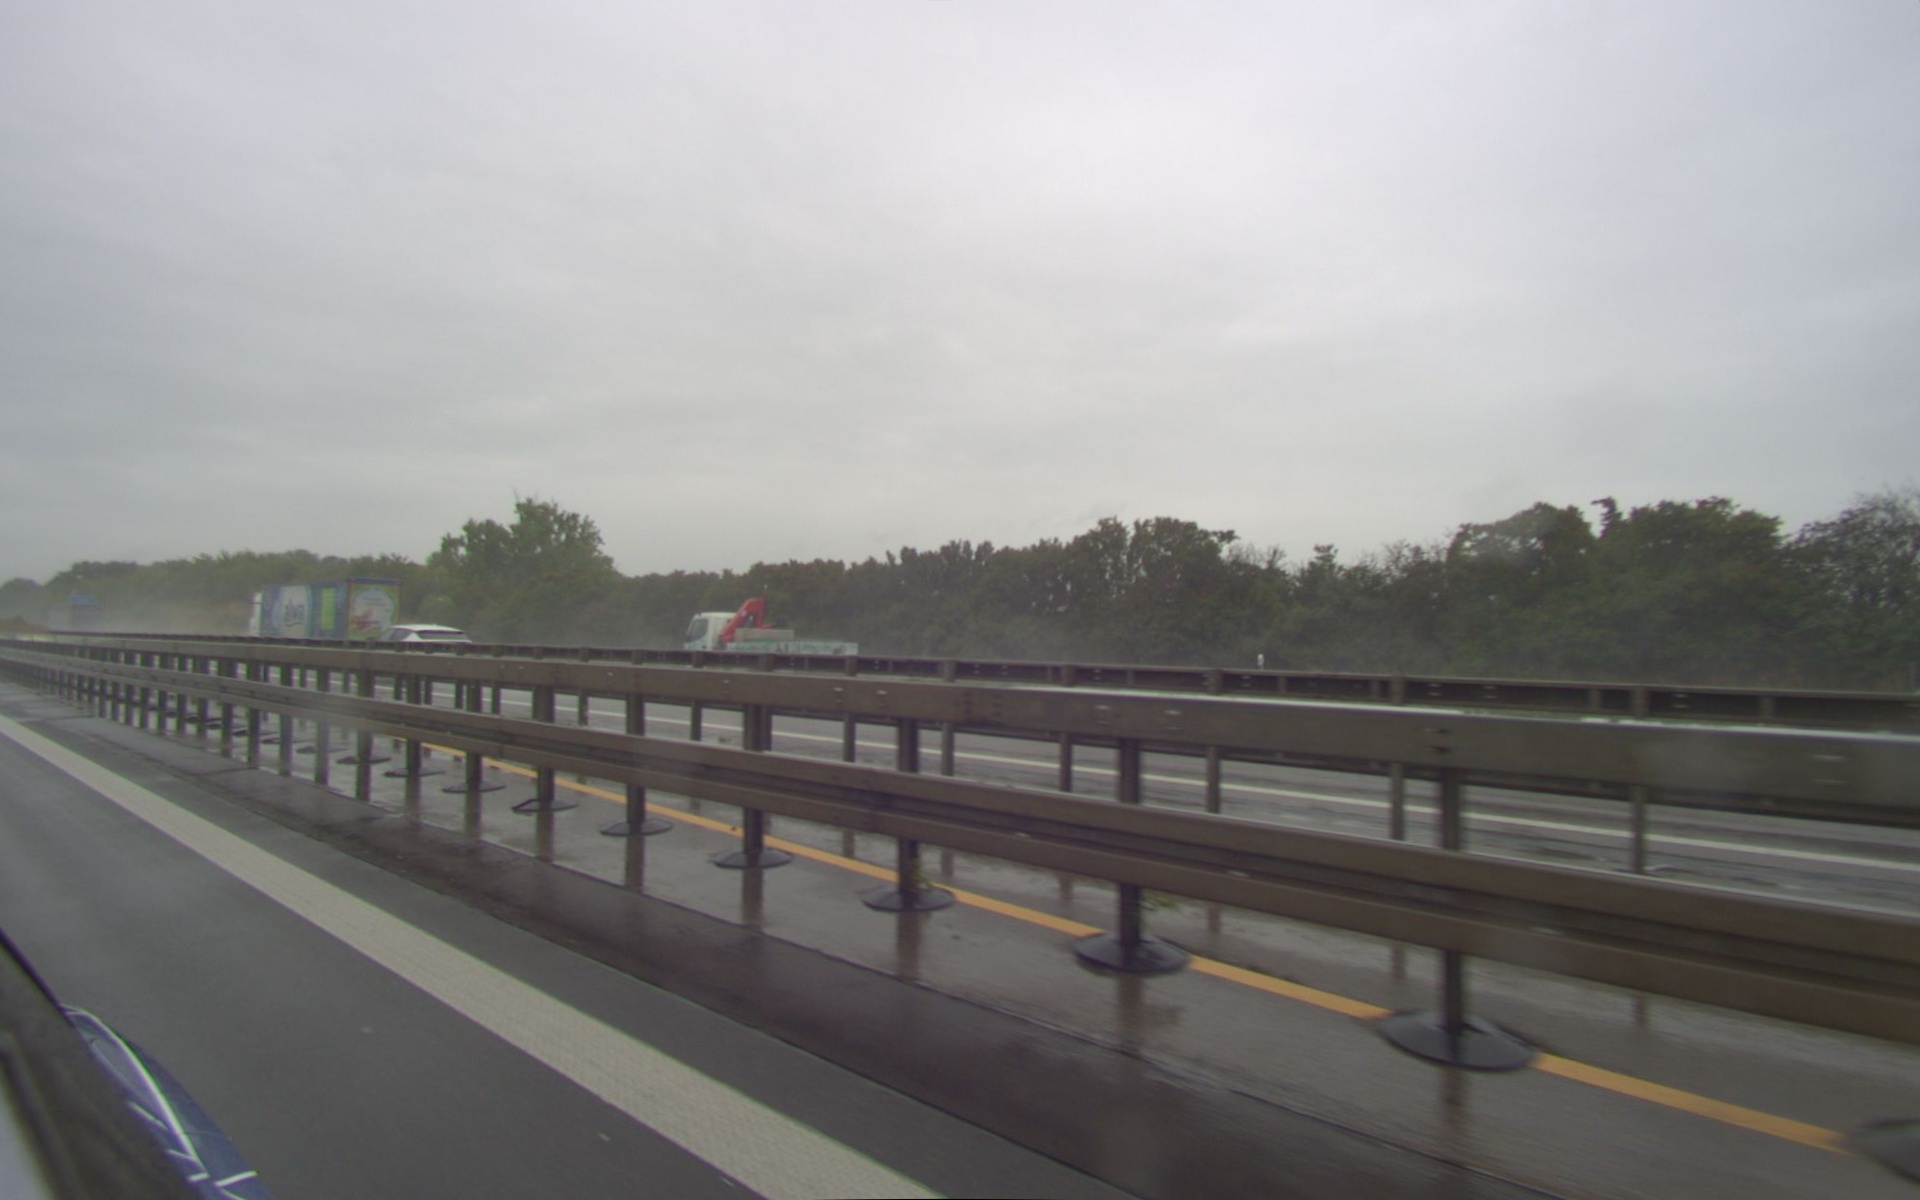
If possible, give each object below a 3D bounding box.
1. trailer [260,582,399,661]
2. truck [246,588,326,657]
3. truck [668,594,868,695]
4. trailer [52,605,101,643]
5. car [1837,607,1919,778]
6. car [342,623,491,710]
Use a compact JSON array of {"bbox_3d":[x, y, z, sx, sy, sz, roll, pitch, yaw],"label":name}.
[{"bbox_3d":[-34.196,1.140,54.519,13.579,3.833,2.606,-1,-1,42],"label":"trailer"},{"bbox_3d":[-39.419,1.272,59.158,5.398,3.834,2.595,-1,-1,42],"label":"truck"},{"bbox_3d":[-5.705,1.212,29.434,6.260,2.639,2.303,-1,-1,41],"label":"truck"},{"bbox_3d":[-95.061,2.556,108.753,13.606,3.833,2.271,-1,-1,42],"label":"trailer"},{"bbox_3d":[13.753,1.137,12.477,4.383,2.120,1.973,-1,-1,41],"label":"car"},{"bbox_3d":[-14.787,1.703,27.420,4.763,2.120,1.973,-1,-1,41],"label":"car"}]
